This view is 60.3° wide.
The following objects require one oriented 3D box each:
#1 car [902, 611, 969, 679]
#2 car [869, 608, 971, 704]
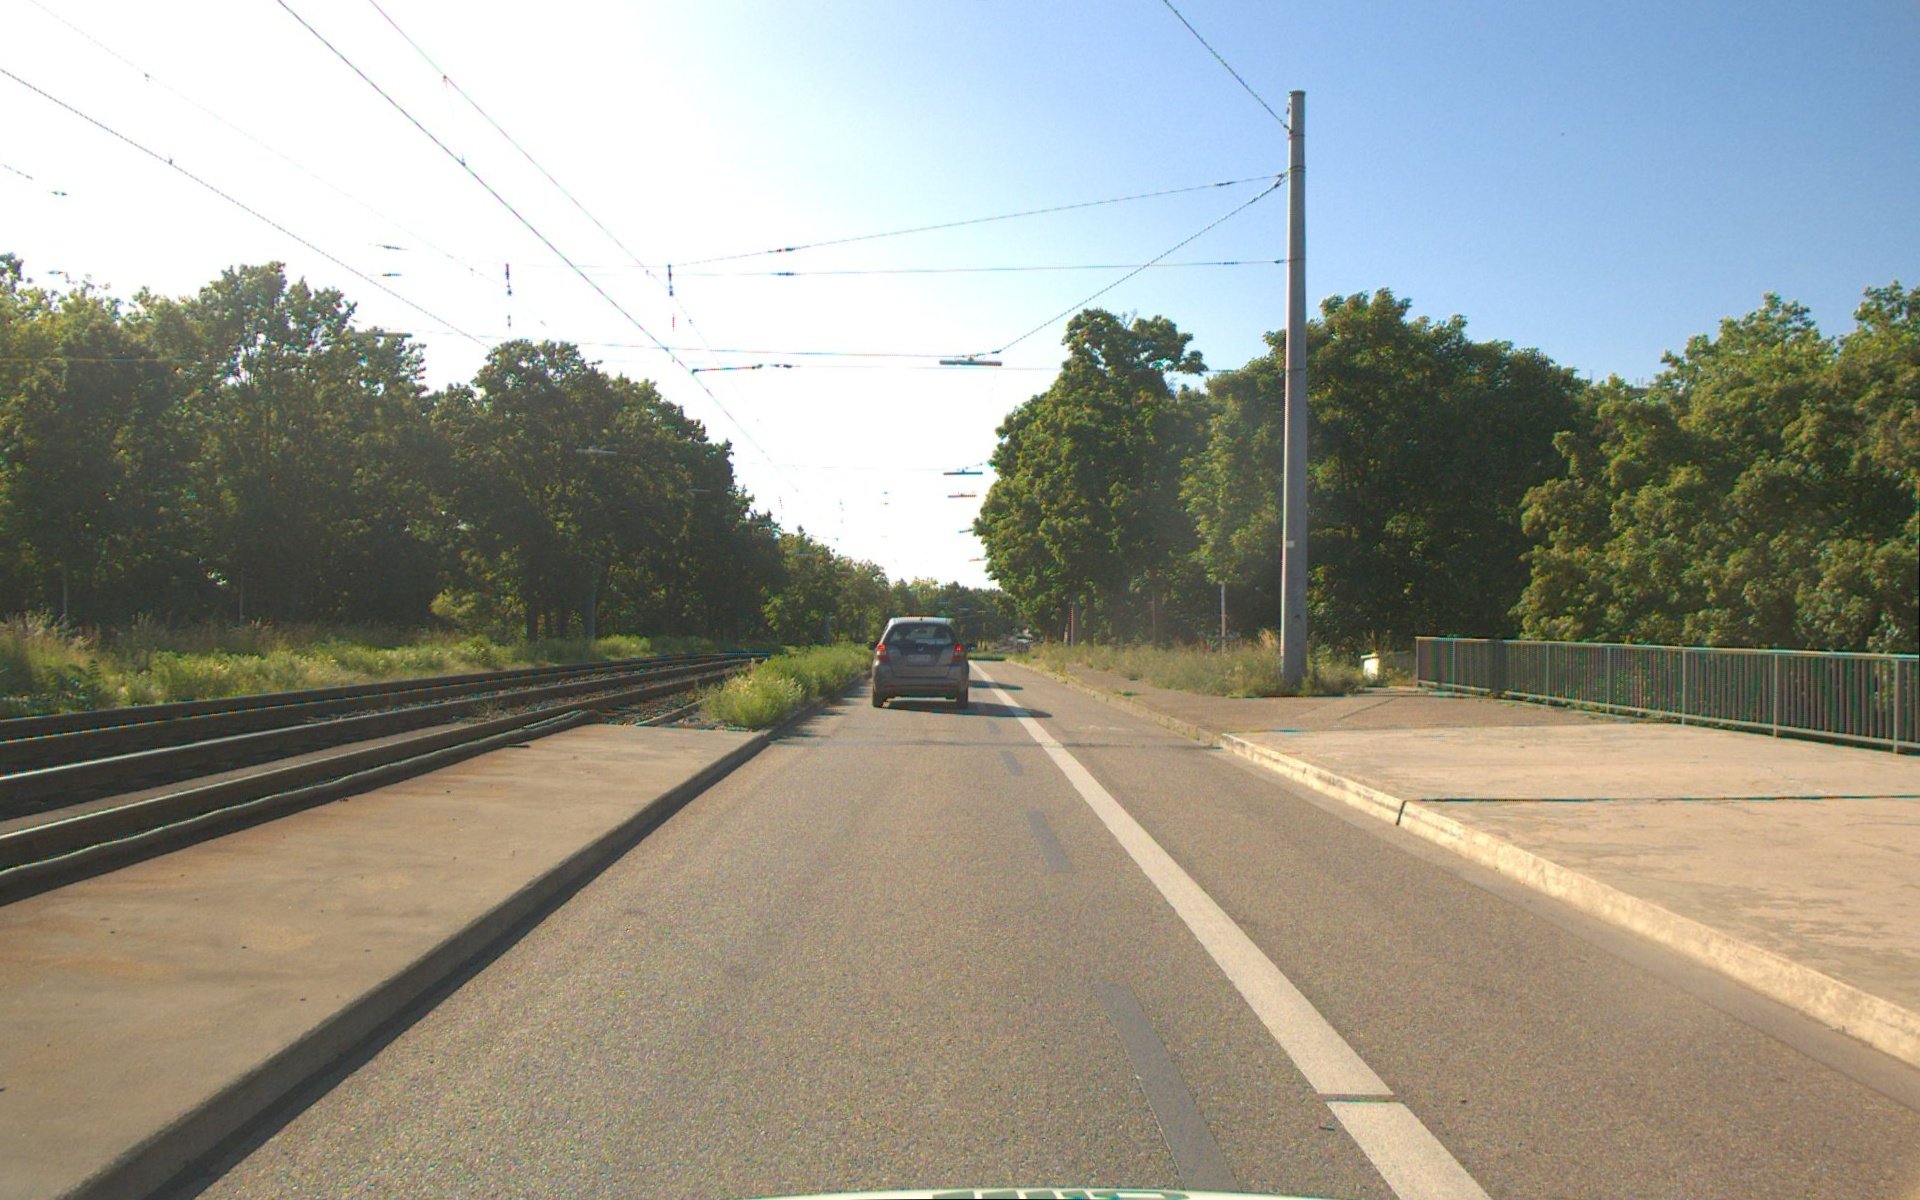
[{"bbox_3d":[-0.608,1.127,42.932,1.621,1.534,3.811,2,1,0],"label":"car"},{"bbox_3d":[-0.668,0.959,29.231,1.636,1.534,3.810,2,-1,0],"label":"car"}]
